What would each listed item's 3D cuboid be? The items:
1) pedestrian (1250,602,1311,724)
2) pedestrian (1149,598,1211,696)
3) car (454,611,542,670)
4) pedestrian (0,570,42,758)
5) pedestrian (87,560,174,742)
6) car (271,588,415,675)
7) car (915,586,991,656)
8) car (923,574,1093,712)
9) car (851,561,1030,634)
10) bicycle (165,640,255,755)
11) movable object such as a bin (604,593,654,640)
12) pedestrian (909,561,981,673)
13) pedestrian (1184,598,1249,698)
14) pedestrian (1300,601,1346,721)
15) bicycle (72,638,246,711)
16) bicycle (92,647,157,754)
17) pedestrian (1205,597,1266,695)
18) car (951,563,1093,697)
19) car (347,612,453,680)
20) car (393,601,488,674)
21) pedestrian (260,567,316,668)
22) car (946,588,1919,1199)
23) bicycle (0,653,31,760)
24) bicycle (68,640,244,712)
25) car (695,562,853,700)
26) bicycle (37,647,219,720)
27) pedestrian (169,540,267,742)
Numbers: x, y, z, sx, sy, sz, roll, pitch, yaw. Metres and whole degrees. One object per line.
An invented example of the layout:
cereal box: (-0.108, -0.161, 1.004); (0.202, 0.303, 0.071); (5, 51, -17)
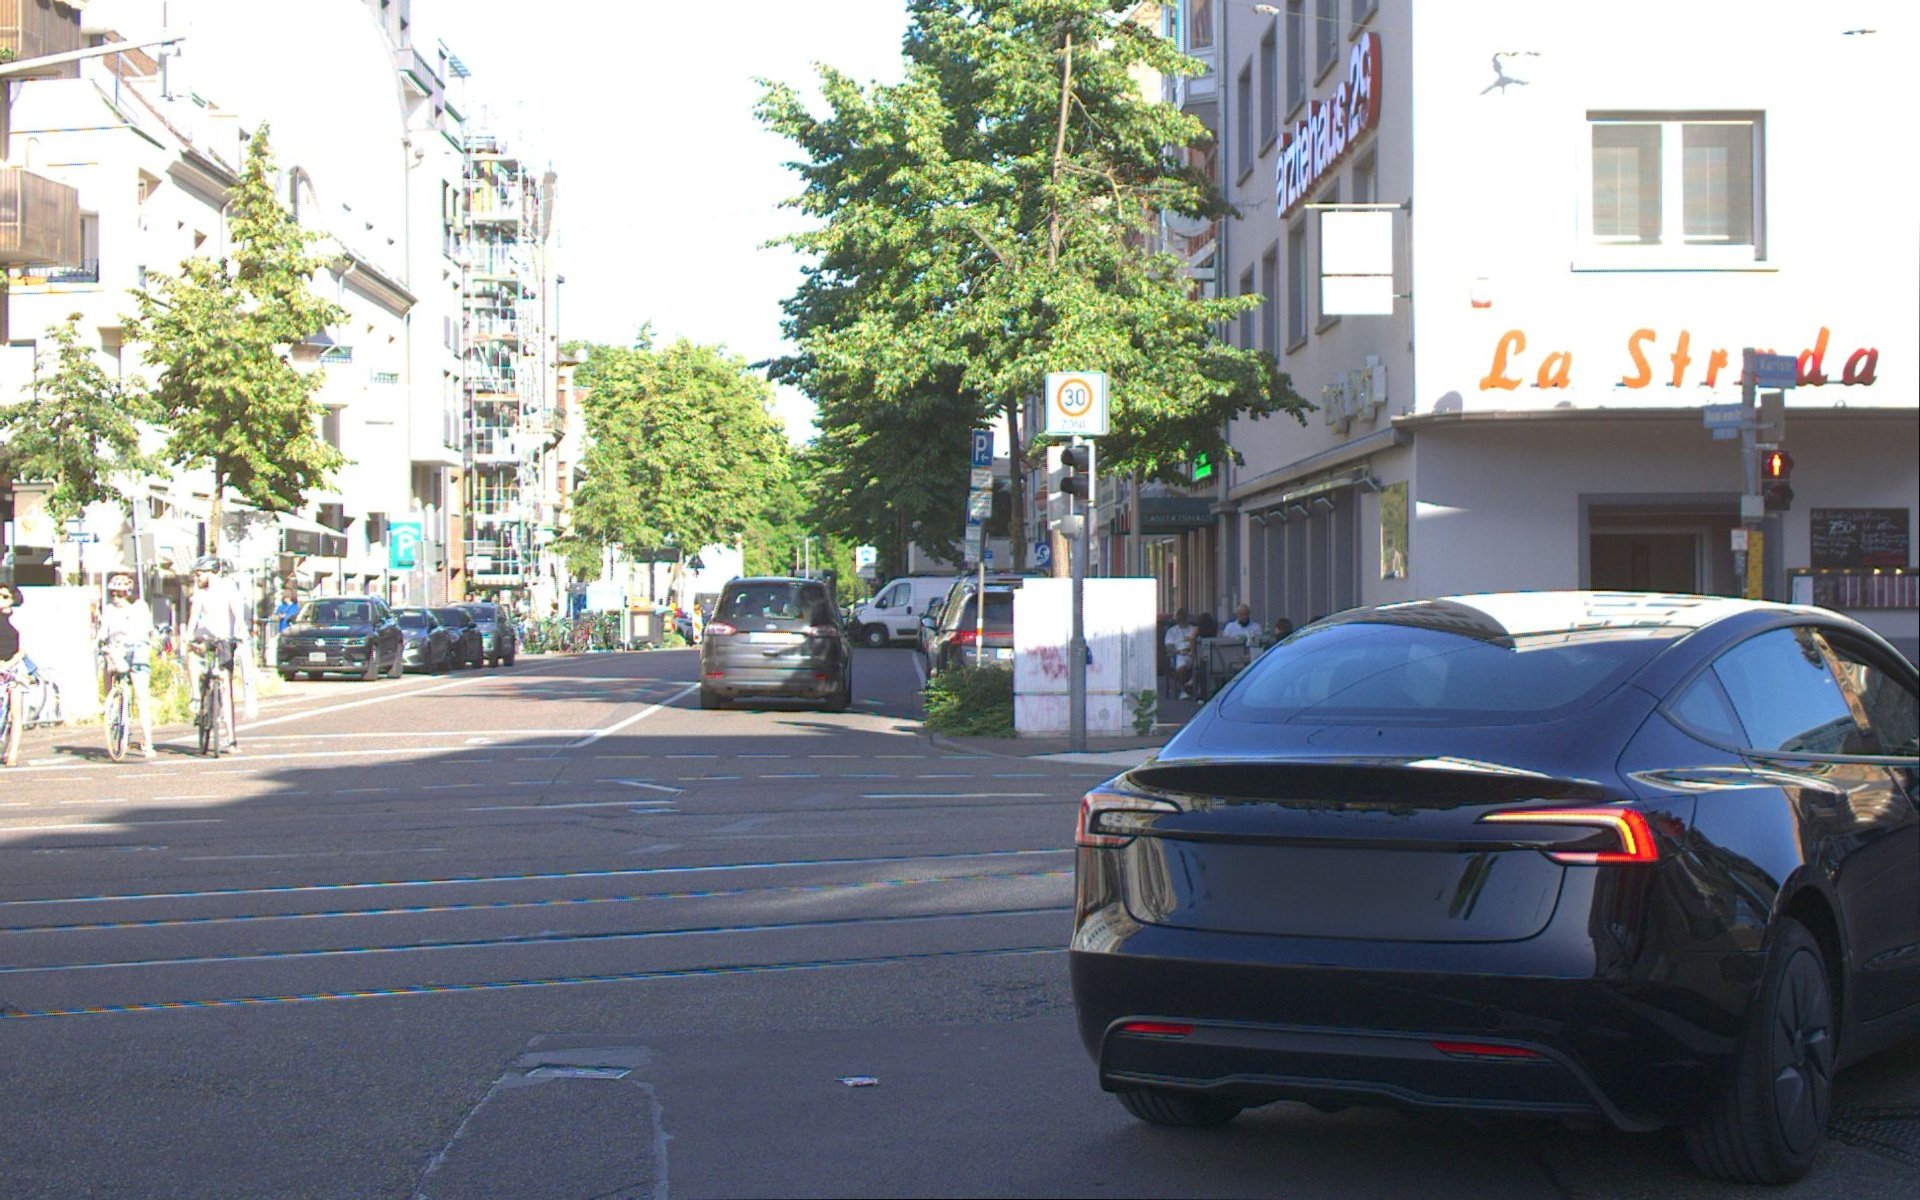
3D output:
pedestrian: (3.478, 0.675, 37.279); (0.586, 1.308, 0.560); (-1, 0, -1)
pedestrian: (3.066, 0.643, 47.882); (0.709, 1.343, 1.060); (-1, 0, -4)
car: (-11.219, 0.971, 83.688); (1.786, 1.398, 3.906); (0, 0, -3)
pedestrian: (-8.868, 0.582, 31.655); (0.790, 1.706, 0.654); (0, 0, -16)
pedestrian: (-7.948, 0.482, 32.928); (0.778, 1.722, 0.559); (0, 0, -15)
car: (-11.815, 0.584, 66.021); (1.993, 1.592, 4.000); (1, 0, 1)
car: (-0.195, 0.555, 92.999); (1.993, 1.818, 4.000); (1, 0, 0)
car: (0.547, 0.499, 42.744); (2.001, 1.631, 4.288); (0, 0, -1)
car: (-0.622, -0.088, 104.659); (5.391, 2.138, 2.000); (-1, 0, -2)
bicycle: (-7.122, 0.914, 32.653); (0.758, 1.004, 1.726); (-3, 1, -12)
movable object such as a bin: (-10.055, 0.490, 104.326); (1.308, 1.403, 1.071); (-1, 0, -18)
pedestrian: (-0.259, 0.287, 59.397); (0.958, 1.909, 1.104); (-1, 0, 15)
pedestrian: (3.486, 0.645, 46.776); (0.730, 1.343, 1.060); (-1, 0, -3)
pedestrian: (4.019, 0.671, 38.062); (0.488, 1.318, 0.653); (-1, 0, 7)
bicycle: (-11.429, 1.056, 49.118); (2.396, 1.002, 0.656); (0, 0, -11)
bicycle: (-7.973, 0.949, 32.843); (0.552, 0.965, 1.795); (-1, 0, -12)
pedestrian: (3.846, 0.634, 48.048); (0.730, 1.356, 0.959); (-1, 0, -1)
car: (0.851, 0.405, 49.365); (1.904, 1.846, 4.288); (0, 0, -1)
car: (-11.975, 0.976, 73.700); (1.786, 1.398, 3.906); (0, 0, -3)
car: (-11.887, 0.848, 78.832); (1.718, 1.604, 3.597); (-1, 0, -1)
pedestrian: (-13.802, 0.359, 70.570); (0.951, 2.007, 1.090); (-4, 1, -14)
car: (1.861, 0.700, 9.777); (1.873, 1.422, 4.357); (0, 1, 30)
bicycle: (-8.906, 0.987, 32.004); (0.480, 0.952, 1.456); (-1, 0, -15)
bicycle: (-11.278, 1.059, 48.285); (2.388, 0.974, 0.656); (0, 0, -11)
car: (-2.389, 0.382, 45.149); (1.904, 1.727, 4.288); (0, 0, -1)
bicycle: (-11.356, 1.141, 46.958); (2.396, 0.955, 0.545); (0, 0, -13)
pedestrian: (-7.088, 0.380, 32.812); (0.778, 1.860, 1.002); (-3, 1, -15)
